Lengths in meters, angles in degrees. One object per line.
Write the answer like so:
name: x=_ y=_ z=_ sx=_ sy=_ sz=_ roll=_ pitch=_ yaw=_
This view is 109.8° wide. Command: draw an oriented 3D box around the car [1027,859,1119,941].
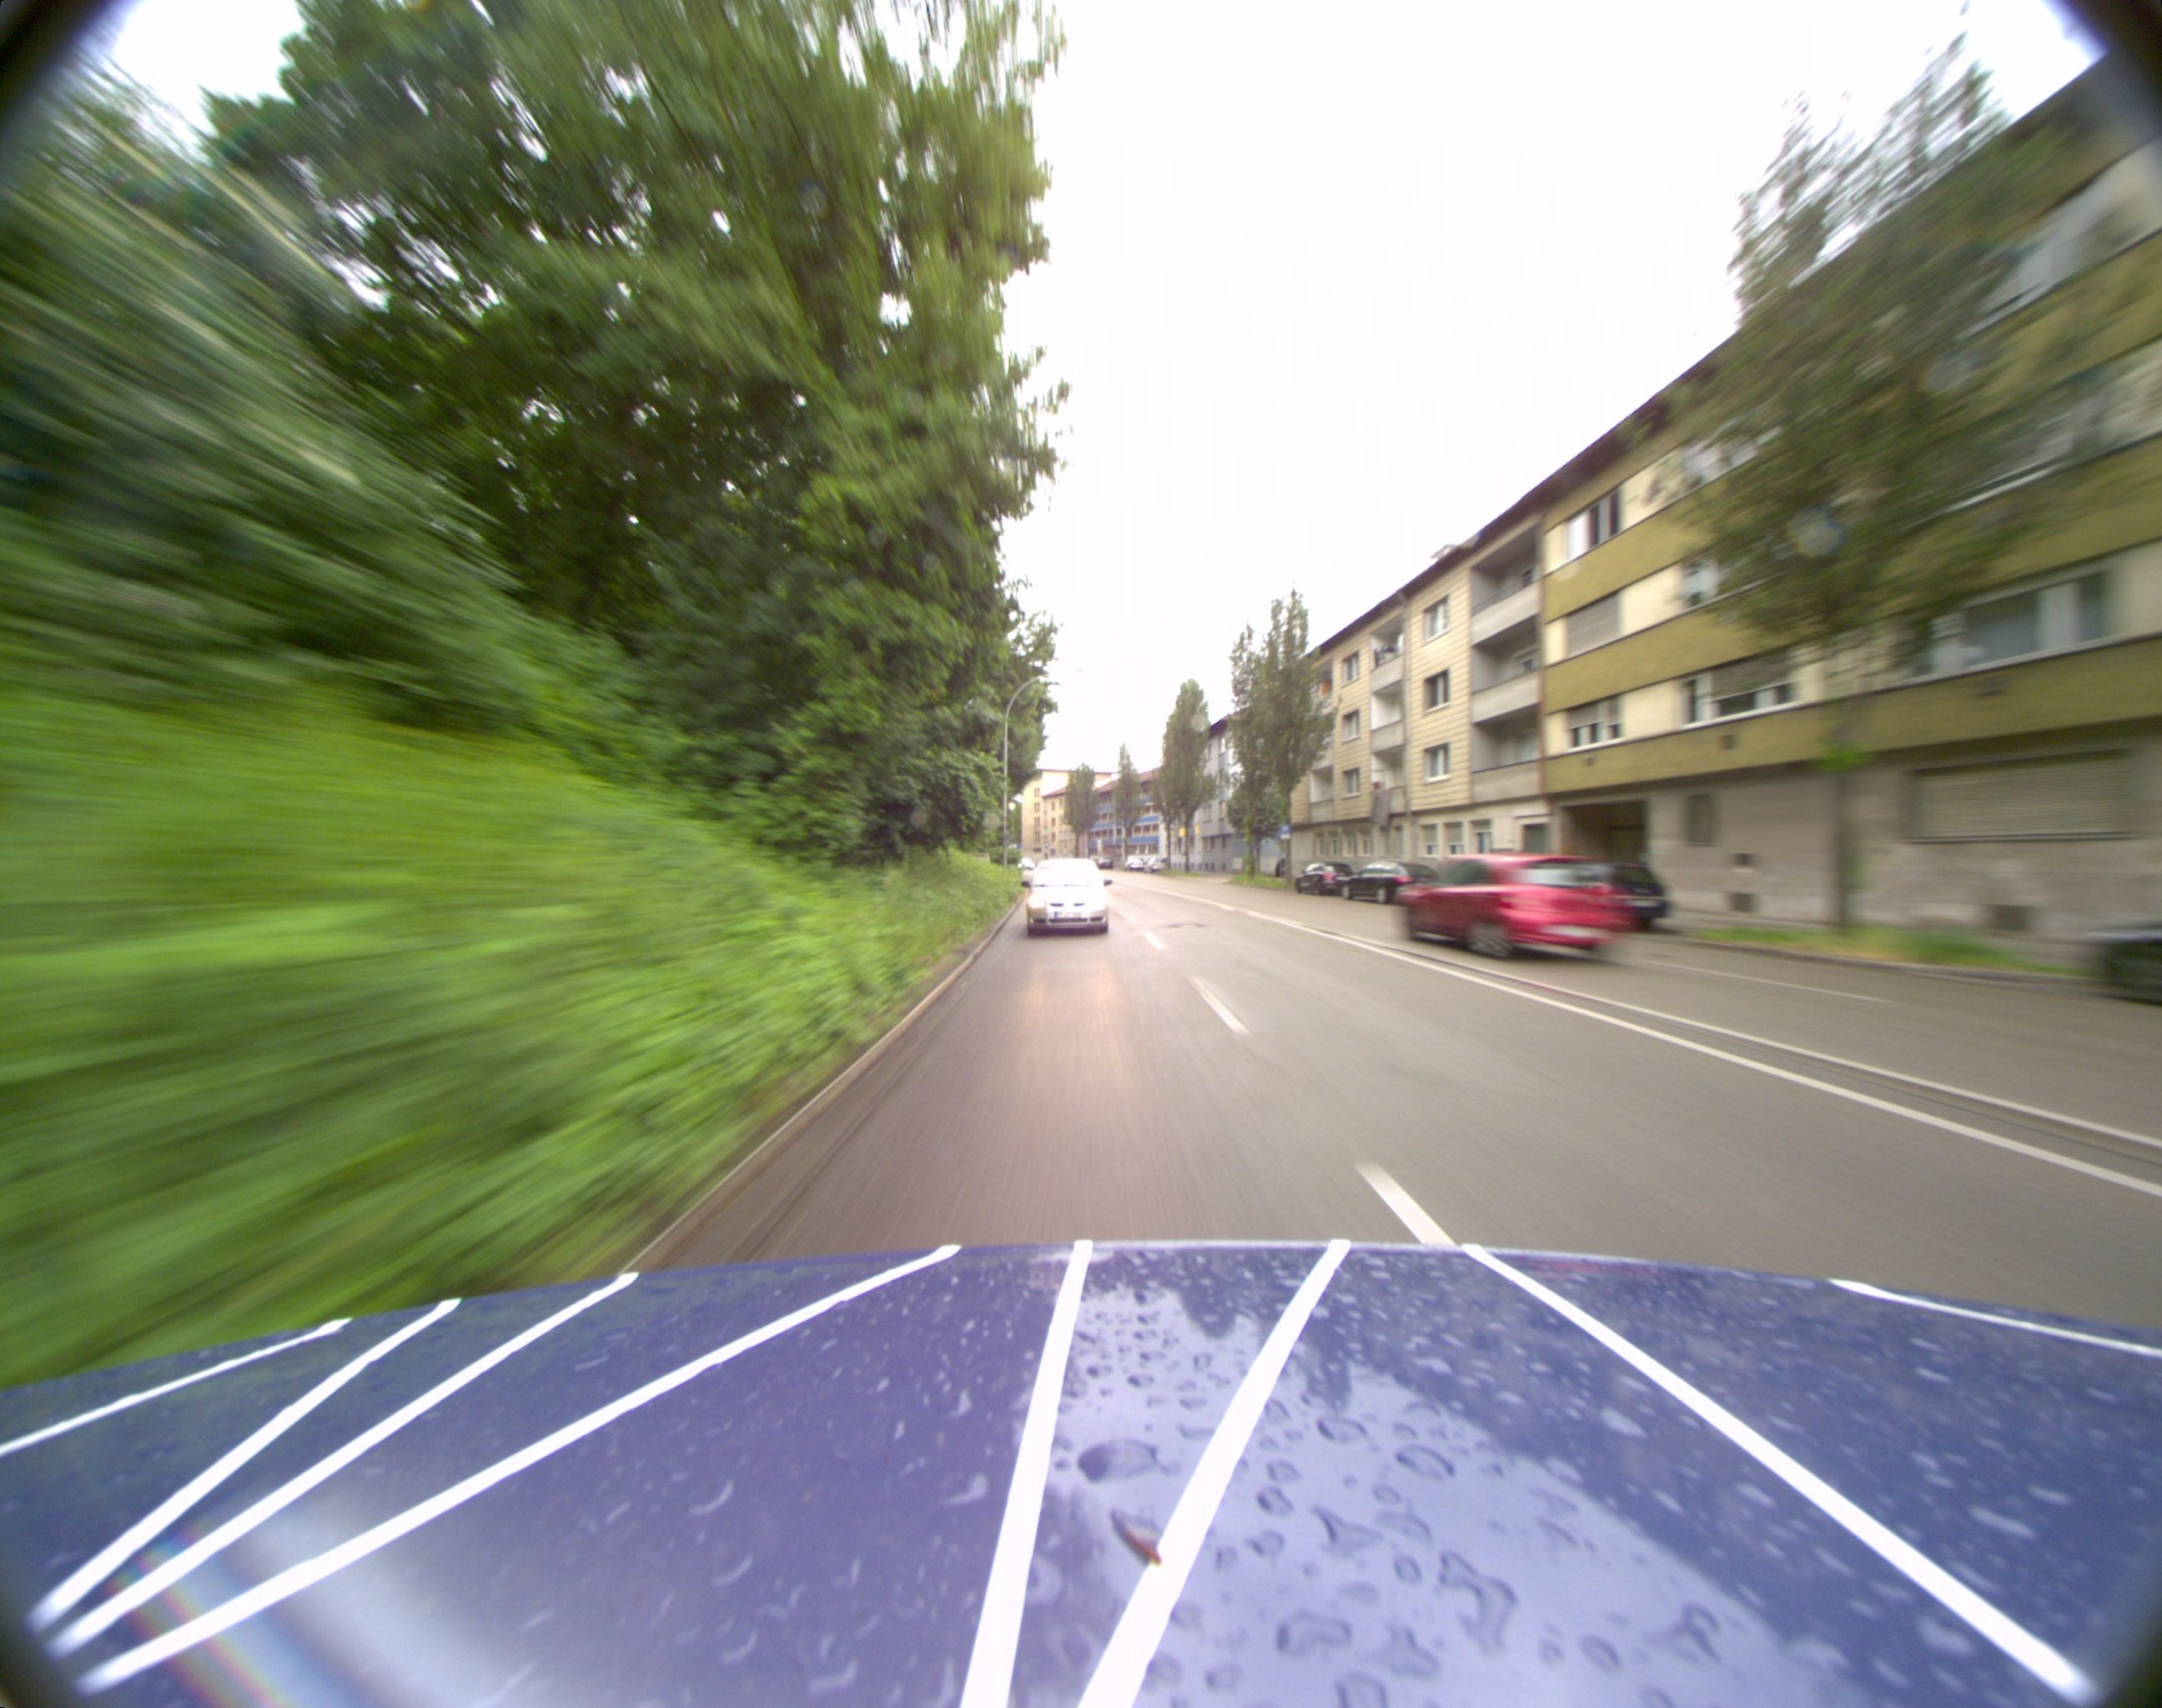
car: x=-0.290 y=0.918 z=16.914 sx=1.753 sy=1.510 sz=3.998 roll=-2 pitch=0 yaw=-4

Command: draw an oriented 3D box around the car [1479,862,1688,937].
car: x=11.573 y=0.975 z=17.956 sx=1.723 sy=1.480 sz=4.513 roll=2 pitch=0 yaw=-3

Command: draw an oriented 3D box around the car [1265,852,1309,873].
car: x=15.723 y=0.652 z=57.944 sx=1.708 sy=1.486 sz=4.009 roll=2 pitch=2 yaw=39

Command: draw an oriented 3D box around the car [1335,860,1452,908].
car: x=10.866 y=0.987 z=26.833 sx=1.823 sy=1.480 sz=4.787 roll=2 pitch=0 yaw=-5

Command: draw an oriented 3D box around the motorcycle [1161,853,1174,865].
motorcycle: x=10.928 y=0.625 z=96.166 sx=0.678 sy=1.406 sz=2.233 roll=-3 pitch=1 yaw=-17

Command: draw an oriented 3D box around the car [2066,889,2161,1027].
car: x=12.029 y=1.094 z=6.167 sx=1.823 sy=1.364 sz=4.678 roll=2 pitch=0 yaw=-4

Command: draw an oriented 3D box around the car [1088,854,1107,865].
car: x=2.290 y=0.753 z=107.706 sx=1.786 sy=1.394 sz=4.084 roll=2 pitch=0 yaw=-10

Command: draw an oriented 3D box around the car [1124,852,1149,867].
car: x=6.055 y=0.589 z=83.976 sx=1.769 sy=1.594 sz=4.530 roll=1 pitch=0 yaw=-9

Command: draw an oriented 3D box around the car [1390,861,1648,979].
car: x=6.428 y=0.872 z=11.680 sx=1.711 sy=1.469 sz=3.679 roll=1 pitch=0 yaw=-2

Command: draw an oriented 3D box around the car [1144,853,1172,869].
car: x=7.311 y=0.654 z=72.807 sx=1.730 sy=1.444 sz=4.202 roll=1 pitch=0 yaw=-8

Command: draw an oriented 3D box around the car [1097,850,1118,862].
car: x=3.563 y=0.245 z=102.014 sx=1.827 sy=1.431 sz=4.888 roll=2 pitch=0 yaw=-10

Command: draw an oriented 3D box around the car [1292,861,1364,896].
car: x=10.590 y=1.007 z=32.856 sx=1.630 sy=1.379 sz=3.987 roll=1 pitch=0 yaw=-4
